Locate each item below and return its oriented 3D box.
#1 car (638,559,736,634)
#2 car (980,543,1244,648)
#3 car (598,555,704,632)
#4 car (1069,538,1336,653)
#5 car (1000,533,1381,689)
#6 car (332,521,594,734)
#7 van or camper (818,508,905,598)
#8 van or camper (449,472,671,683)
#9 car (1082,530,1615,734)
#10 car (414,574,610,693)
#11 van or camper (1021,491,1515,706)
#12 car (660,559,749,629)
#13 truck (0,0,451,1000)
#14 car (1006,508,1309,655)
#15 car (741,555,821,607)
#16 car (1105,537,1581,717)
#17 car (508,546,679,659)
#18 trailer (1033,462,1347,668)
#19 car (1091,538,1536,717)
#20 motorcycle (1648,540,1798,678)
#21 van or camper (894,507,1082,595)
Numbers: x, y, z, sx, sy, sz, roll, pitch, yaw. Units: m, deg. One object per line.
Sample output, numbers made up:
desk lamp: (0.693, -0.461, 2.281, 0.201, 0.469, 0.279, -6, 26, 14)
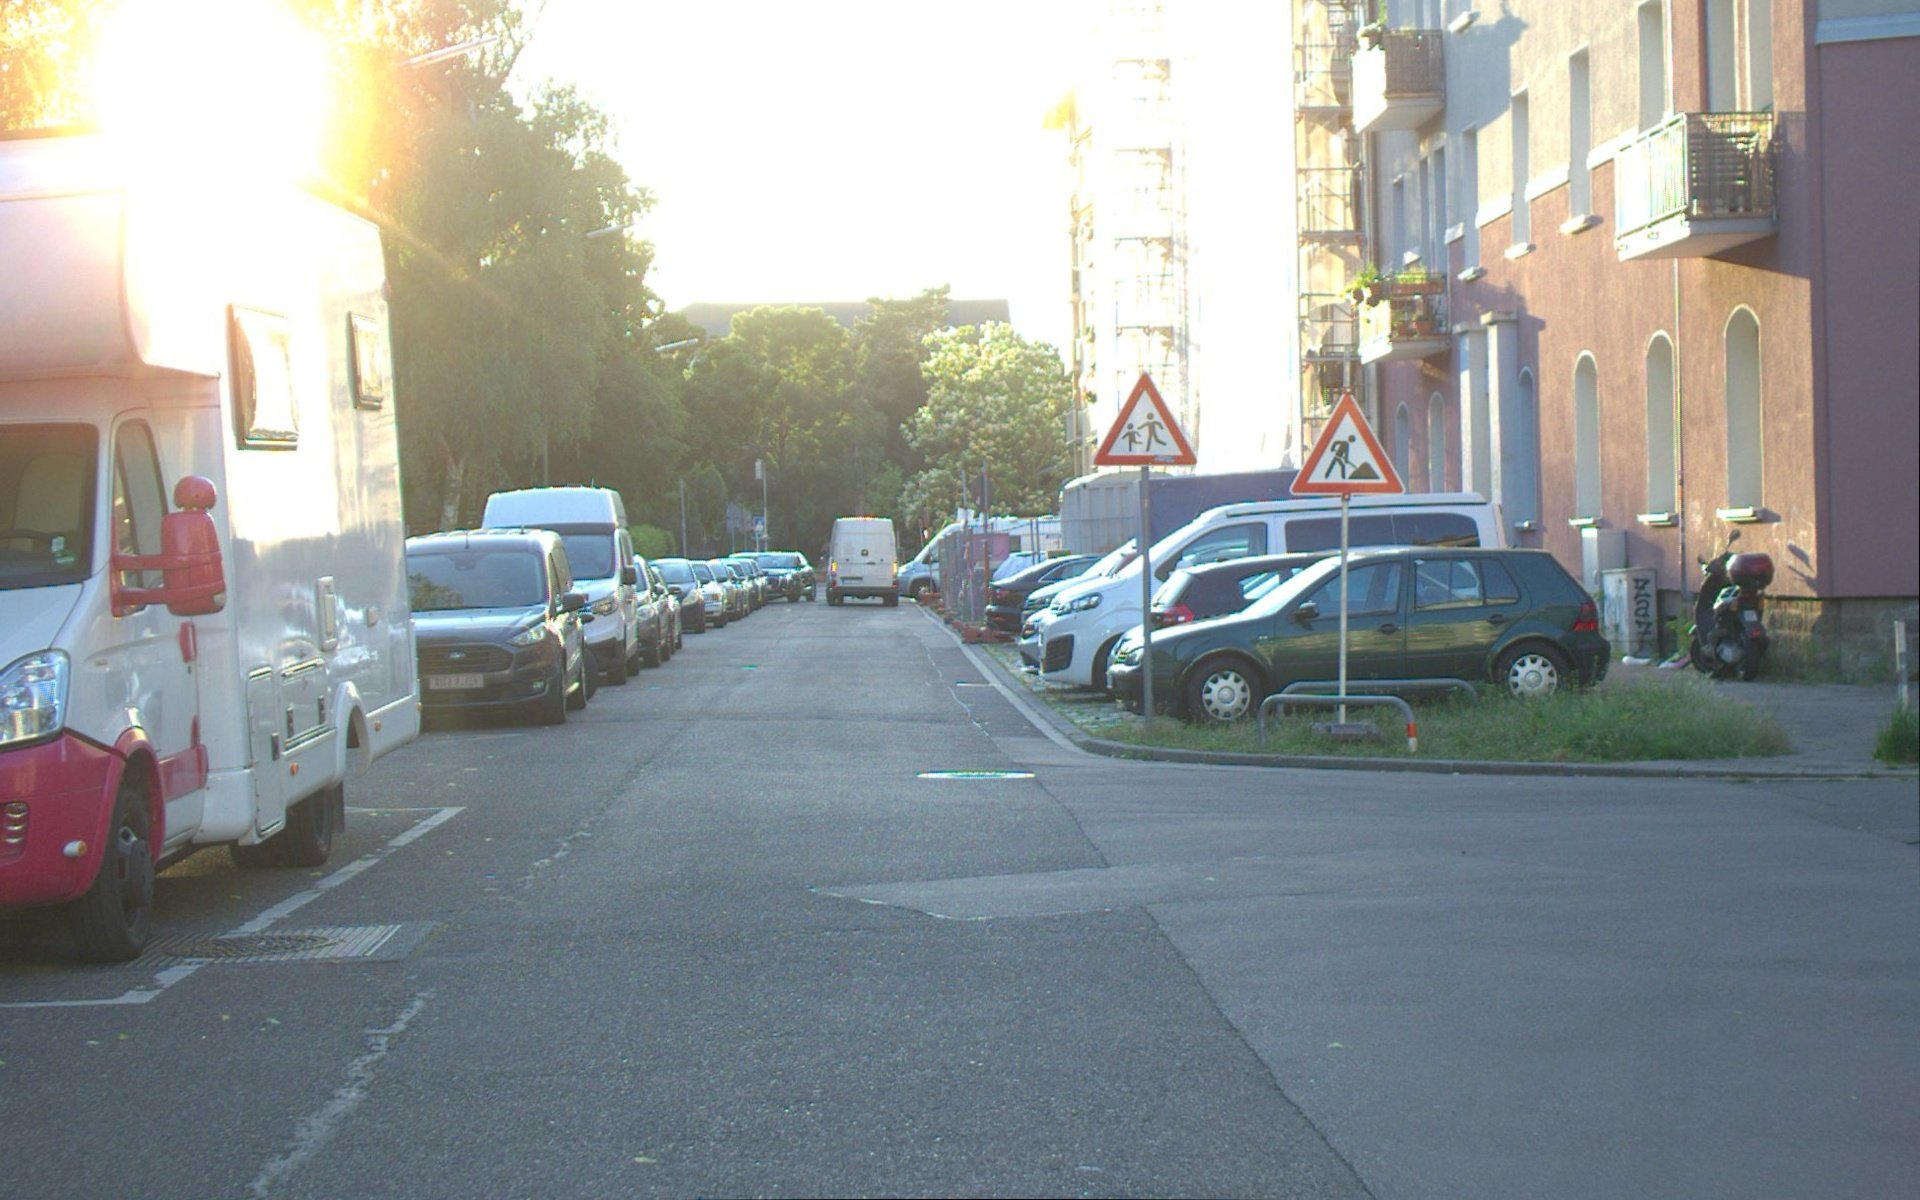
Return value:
car: (-5.750, -0.091, 72.759, 1.782, 1.441, 4.749, -3, 1, -2)
car: (2.422, -0.078, 55.479, 4.153, 1.610, 1.872, -1, 1, 0)
car: (-5.995, -0.145, 66.928, 1.993, 1.448, 4.001, 0, 1, -4)
car: (3.525, -0.083, 50.360, 3.691, 1.605, 1.745, -1, 1, -4)
car: (2.515, 0.111, 38.218, 3.986, 1.634, 2.000, -1, 0, -3)
car: (-4.550, 0.197, 32.138, 1.910, 1.782, 4.950, -2, 1, -3)
van or camper: (-2.933, -1.400, 102.881, 2.453, 2.538, 6.083, 1, 1, -1)
van or camper: (-4.937, -0.313, 43.274, 1.993, 2.448, 6.083, -1, 1, 1)
car: (3.166, 0.239, 28.544, 4.101, 1.580, 1.855, -1, 1, -4)
car: (-4.853, 0.328, 37.481, 1.993, 1.185, 4.037, 0, 1, -7)
van or camper: (3.113, -0.034, 35.496, 4.833, 2.089, 2.041, -1, 1, -2)
car: (-6.014, -0.165, 81.382, 1.859, 1.532, 4.759, -2, 1, -2)
truck: (-4.210, -0.343, 15.441, 2.525, 3.342, 8.018, -3, 1, 0)
car: (3.008, -0.302, 52.784, 4.265, 1.973, 1.822, -3, 2, -9)
car: (-5.632, -0.606, 108.796, 1.804, 1.564, 4.564, -1, 0, 6)
car: (3.412, 0.222, 31.163, 3.986, 1.525, 2.000, -1, 1, -3)
car: (-5.159, 0.001, 48.965, 1.993, 1.514, 4.789, 0, 1, -1)
trailer: (2.836, -0.445, 42.996, 3.566, 2.329, 1.941, -3, 1, -4)
car: (3.359, 0.243, 33.205, 3.986, 1.612, 2.000, -1, 1, -3)
motorcycle: (7.111, 0.062, 32.168, 0.742, 1.231, 2.653, -1, 1, -1)
van or camper: (0.871, -1.553, 109.935, 5.928, 2.760, 2.110, 0, 0, -2)
